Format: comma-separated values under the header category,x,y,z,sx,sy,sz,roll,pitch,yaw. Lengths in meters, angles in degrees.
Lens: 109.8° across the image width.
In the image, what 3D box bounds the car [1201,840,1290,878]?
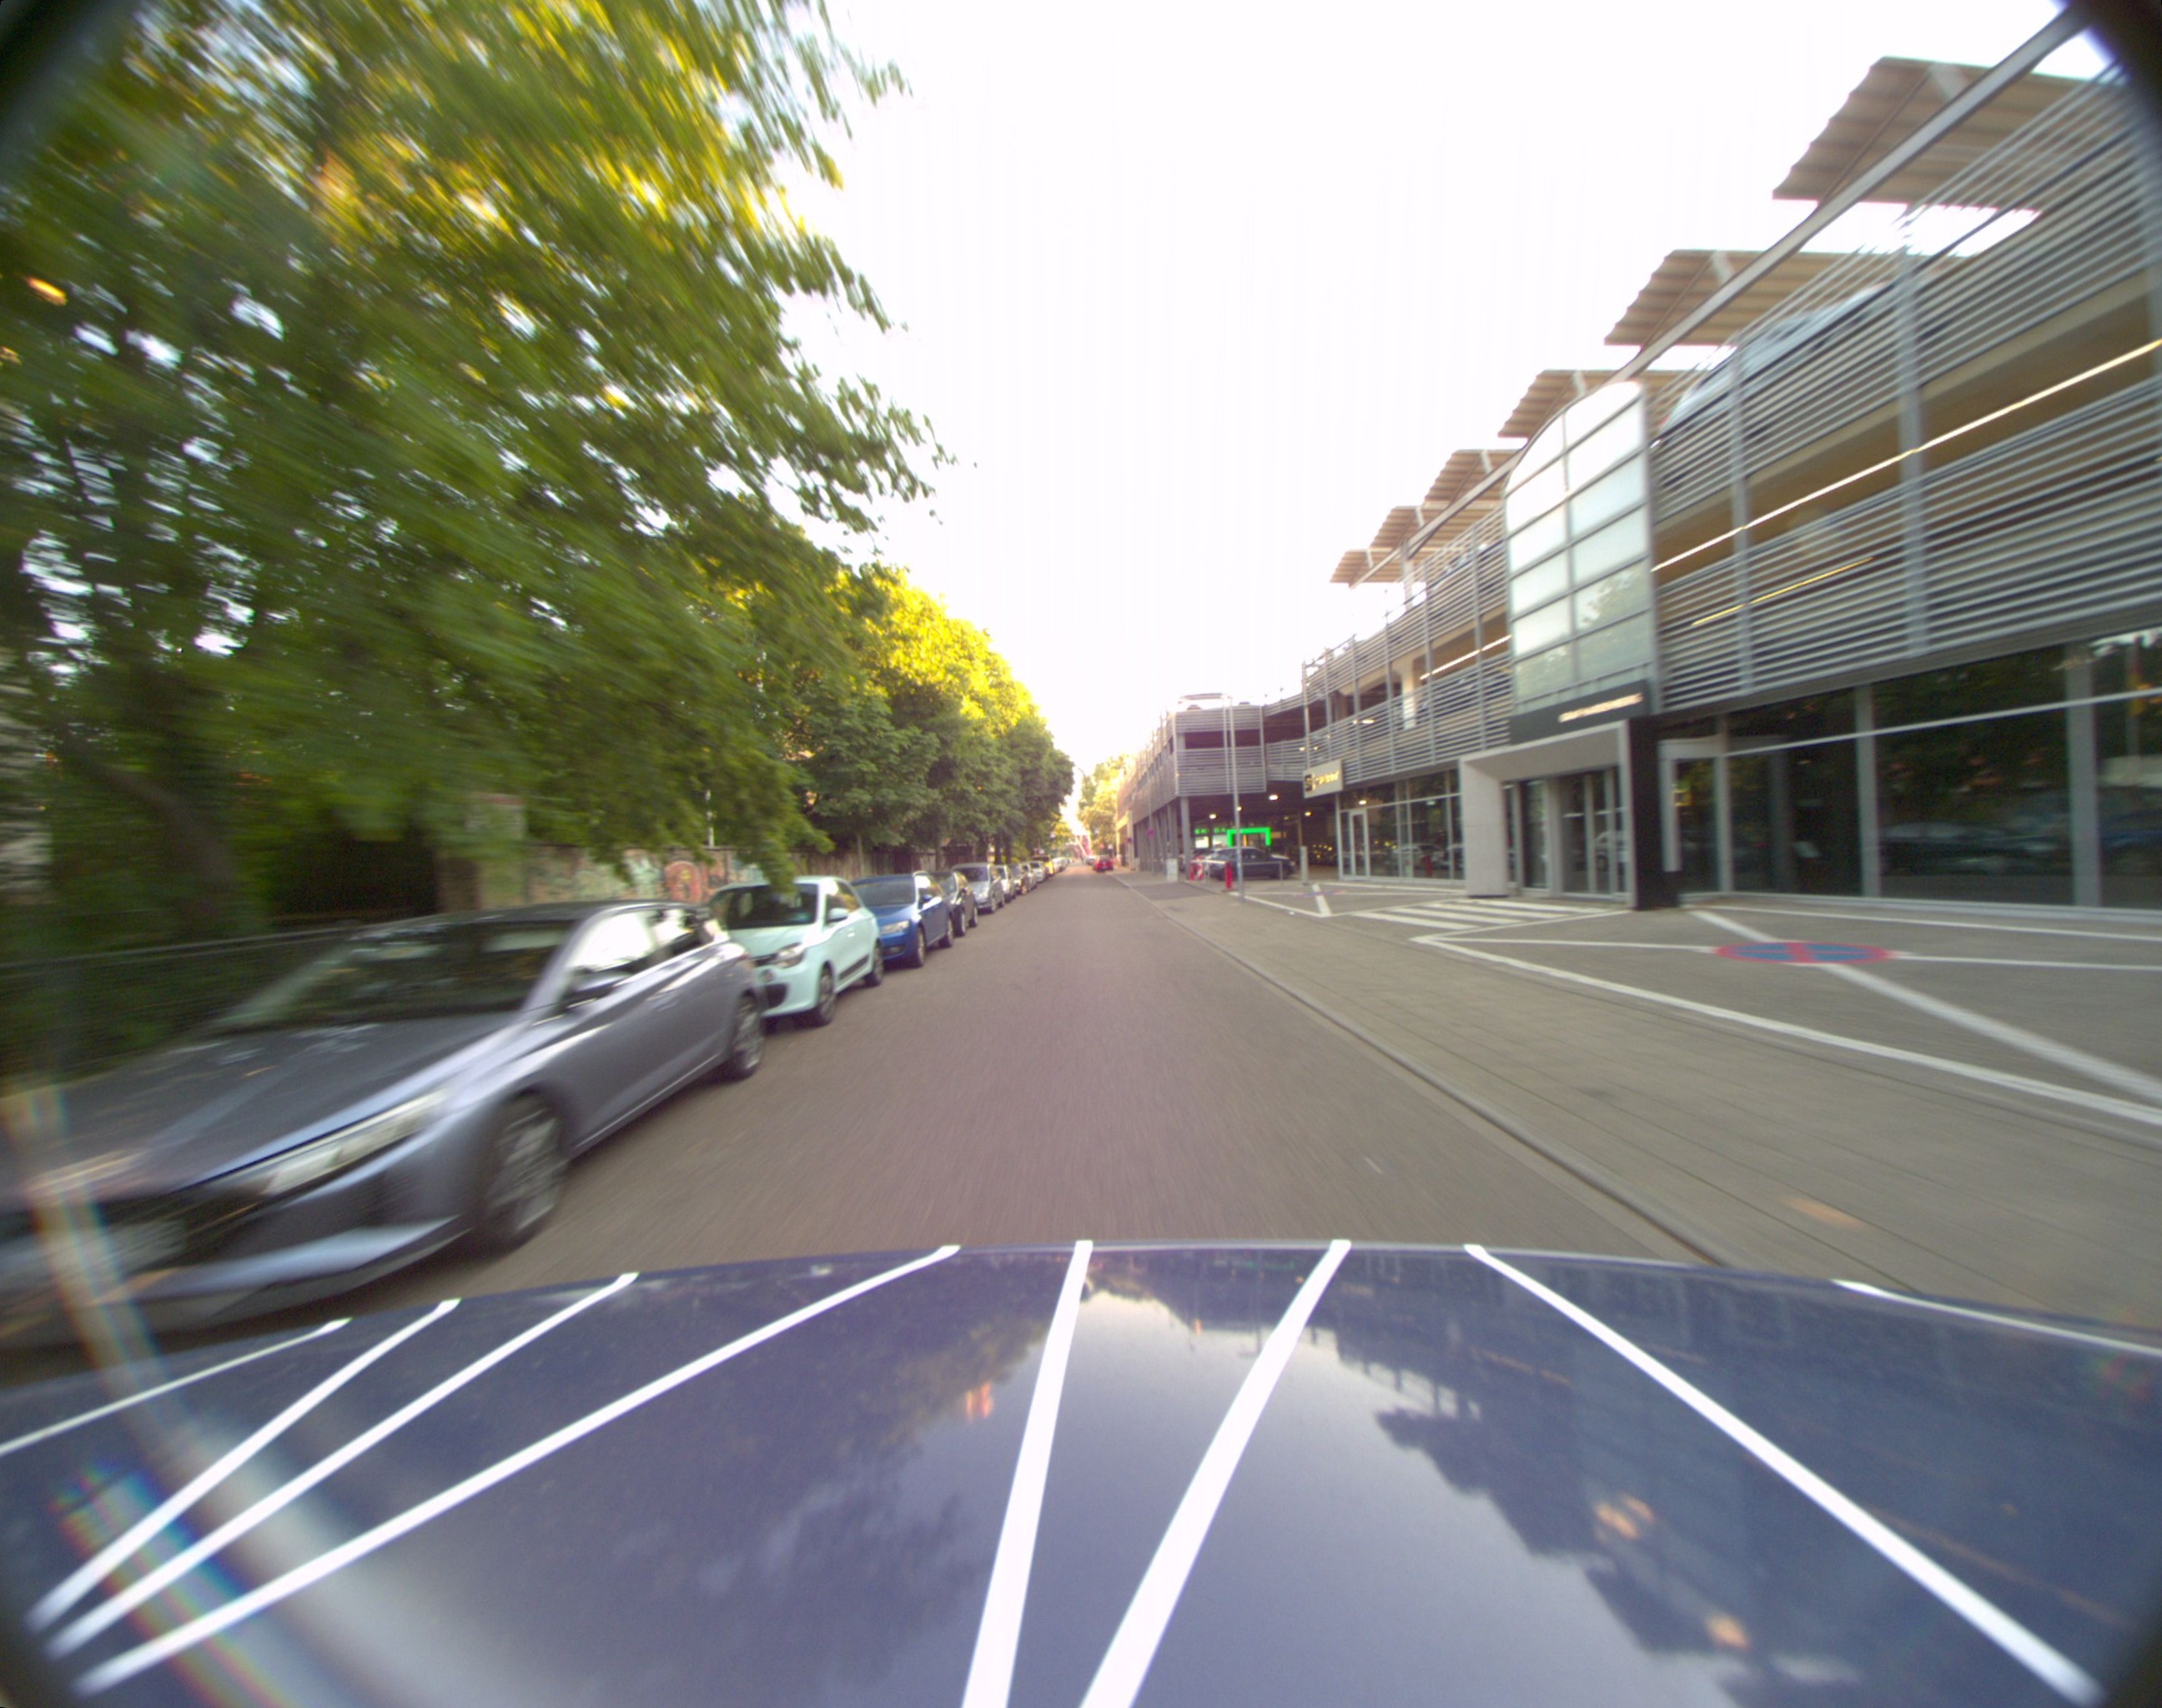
category,x,y,z,sx,sy,sz,roll,pitch,yaw
car,8.399,0.248,39.077,4.089,1.674,1.860,-3,-1,1

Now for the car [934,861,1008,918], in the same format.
category,x,y,z,sx,sy,sz,roll,pitch,yaw
car,-3.519,1.105,24.973,1.764,1.594,3.873,-3,0,0

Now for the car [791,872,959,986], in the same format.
category,x,y,z,sx,sy,sz,roll,pitch,yaw
car,-3.331,1.148,13.147,1.699,1.468,4.117,-3,0,0

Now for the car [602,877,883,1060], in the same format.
category,x,y,z,sx,sy,sz,roll,pitch,yaw
car,-3.529,1.092,8.692,1.700,1.468,3.558,-3,0,-3

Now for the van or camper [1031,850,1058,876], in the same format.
category,x,y,z,sx,sy,sz,roll,pitch,yaw
van or camper,-3.167,0.781,66.986,2.069,2.083,5.090,-3,-1,-1

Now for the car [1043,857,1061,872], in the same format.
category,x,y,z,sx,sy,sz,roll,pitch,yaw
car,-3.106,1.114,82.260,1.796,1.553,4.194,-3,0,0

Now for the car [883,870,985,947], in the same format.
category,x,y,z,sx,sy,sz,roll,pitch,yaw
car,-3.364,1.201,18.070,1.601,1.468,3.773,-3,0,0

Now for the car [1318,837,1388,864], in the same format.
category,x,y,z,sx,sy,sz,roll,pitch,yaw
car,18.443,-0.235,51.602,3.997,1.549,1.860,-3,-1,1

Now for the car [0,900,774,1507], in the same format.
category,x,y,z,sx,sy,sz,roll,pitch,yaw
car,-3.338,1.161,4.284,1.700,1.468,4.211,-3,0,-4

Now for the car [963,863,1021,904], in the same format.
category,x,y,z,sx,sy,sz,roll,pitch,yaw
car,-3.475,1.147,30.317,1.764,1.433,3.874,-3,-1,0

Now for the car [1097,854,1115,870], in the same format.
category,x,y,z,sx,sy,sz,roll,pitch,yaw
car,2.522,0.812,77.257,1.702,1.497,3.791,-3,0,0

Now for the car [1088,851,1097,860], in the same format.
category,x,y,z,sx,sy,sz,roll,pitch,yaw
car,2.856,0.446,190.187,1.964,1.825,3.884,-8,0,-2

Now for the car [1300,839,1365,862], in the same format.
category,x,y,z,sx,sy,sz,roll,pitch,yaw
car,18.384,-0.218,55.593,4.084,1.446,1.860,-3,-1,1

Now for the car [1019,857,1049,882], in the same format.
category,x,y,z,sx,sy,sz,roll,pitch,yaw
car,-3.128,1.061,51.458,1.726,1.510,4.026,-3,-1,0

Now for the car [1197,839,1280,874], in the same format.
category,x,y,z,sx,sy,sz,roll,pitch,yaw
car,8.543,0.147,41.502,4.097,1.674,1.860,-3,-1,1

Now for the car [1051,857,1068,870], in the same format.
category,x,y,z,sx,sy,sz,roll,pitch,yaw
car,-2.631,1.122,92.685,1.814,1.408,4.625,-3,0,0

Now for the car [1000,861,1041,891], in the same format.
category,x,y,z,sx,sy,sz,roll,pitch,yaw
car,-3.207,1.156,40.921,1.764,1.433,4.006,-3,-1,0

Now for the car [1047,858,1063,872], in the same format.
category,x,y,z,sx,sy,sz,roll,pitch,yaw
car,-2.969,1.224,87.235,1.614,1.452,4.054,-3,0,0

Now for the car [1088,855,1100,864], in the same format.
category,x,y,z,sx,sy,sz,roll,pitch,yaw
car,2.466,1.116,143.706,1.786,1.442,3.884,-8,0,-2

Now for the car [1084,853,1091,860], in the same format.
category,x,y,z,sx,sy,sz,roll,pitch,yaw
car,2.003,0.727,226.538,1.786,1.772,4.012,-8,0,-2

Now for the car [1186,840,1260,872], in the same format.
category,x,y,z,sx,sy,sz,roll,pitch,yaw
car,8.562,0.135,46.044,4.074,1.674,1.860,-3,-1,1

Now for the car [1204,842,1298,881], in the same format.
category,x,y,z,sx,sy,sz,roll,pitch,yaw
car,8.111,0.332,36.451,3.997,1.577,1.859,-3,2,-2

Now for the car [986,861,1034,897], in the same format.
category,x,y,z,sx,sy,sz,roll,pitch,yaw
car,-3.307,1.134,36.178,1.764,1.446,4.392,-3,0,0

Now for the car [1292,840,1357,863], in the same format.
category,x,y,z,sx,sy,sz,roll,pitch,yaw
car,18.695,-0.164,58.365,4.347,1.478,1.860,-3,-1,1

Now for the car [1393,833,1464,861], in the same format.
category,x,y,z,sx,sy,sz,roll,pitch,yaw
car,24.257,-0.478,53.126,4.034,1.674,1.860,-3,-1,1

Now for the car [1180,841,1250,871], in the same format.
category,x,y,z,sx,sy,sz,roll,pitch,yaw
car,8.476,0.144,48.358,4.113,1.674,1.860,-3,-1,1

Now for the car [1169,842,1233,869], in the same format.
category,x,y,z,sx,sy,sz,roll,pitch,yaw
car,8.374,0.117,53.234,4.113,1.674,1.860,-3,-1,1

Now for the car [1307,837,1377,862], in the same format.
category,x,y,z,sx,sy,sz,roll,pitch,yaw
car,18.386,-0.284,53.597,4.216,1.511,1.860,-3,-1,1

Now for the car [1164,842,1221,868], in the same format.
category,x,y,z,sx,sy,sz,roll,pitch,yaw
car,8.454,0.095,58.059,4.035,1.674,1.860,-3,-1,1

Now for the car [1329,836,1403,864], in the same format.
category,x,y,z,sx,sy,sz,roll,pitch,yaw
car,18.472,-0.240,49.352,3.997,1.549,1.860,-3,-1,1

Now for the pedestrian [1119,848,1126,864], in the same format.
category,x,y,z,sx,sy,sz,roll,pitch,yaw
pedestrian,4.715,0.230,86.666,0.723,1.867,0.620,-3,0,1

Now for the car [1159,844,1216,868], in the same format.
category,x,y,z,sx,sy,sz,roll,pitch,yaw
car,8.409,0.164,60.196,4.159,1.674,1.860,-3,-1,1

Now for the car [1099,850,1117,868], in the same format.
category,x,y,z,sx,sy,sz,roll,pitch,yaw
car,2.866,0.560,82.548,1.702,1.745,4.403,-3,0,0

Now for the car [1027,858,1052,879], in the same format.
category,x,y,z,sx,sy,sz,roll,pitch,yaw
car,-3.077,1.066,56.485,1.567,1.441,3.454,-3,-1,0
